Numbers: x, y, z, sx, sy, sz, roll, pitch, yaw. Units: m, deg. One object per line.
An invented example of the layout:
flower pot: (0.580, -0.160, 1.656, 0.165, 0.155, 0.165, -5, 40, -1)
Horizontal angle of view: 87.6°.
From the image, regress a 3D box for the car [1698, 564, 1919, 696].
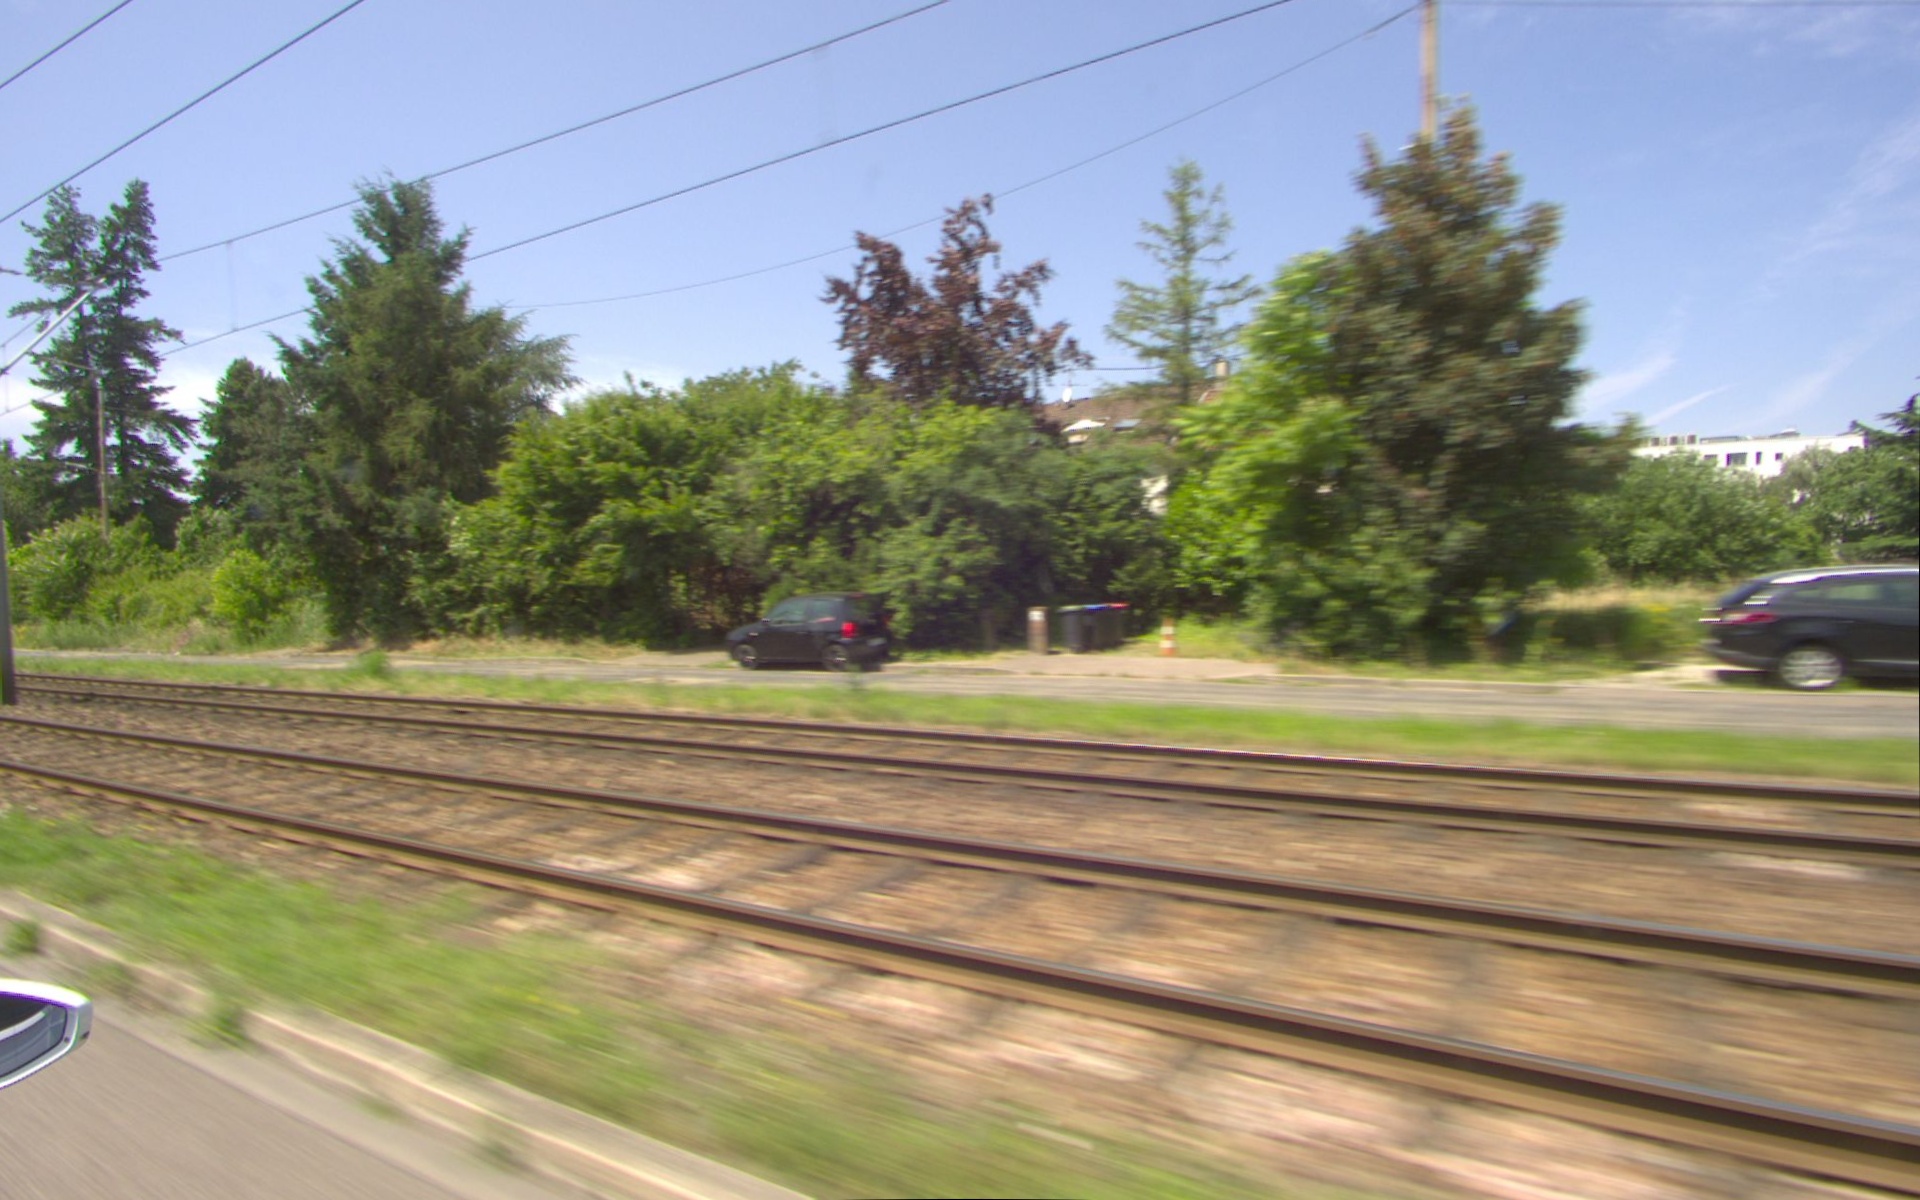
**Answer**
car: (12.249, 0.345, 12.649, 4.488, 1.582, 1.932, -1, 0, 30)

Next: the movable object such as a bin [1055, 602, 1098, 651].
movable object such as a bin: (2.342, 0.523, 20.100, 0.612, 0.950, 0.722, 0, 1, 32)

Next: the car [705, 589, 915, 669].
car: (-3.086, 0.557, 20.427, 3.943, 1.490, 1.910, -1, 0, 32)
